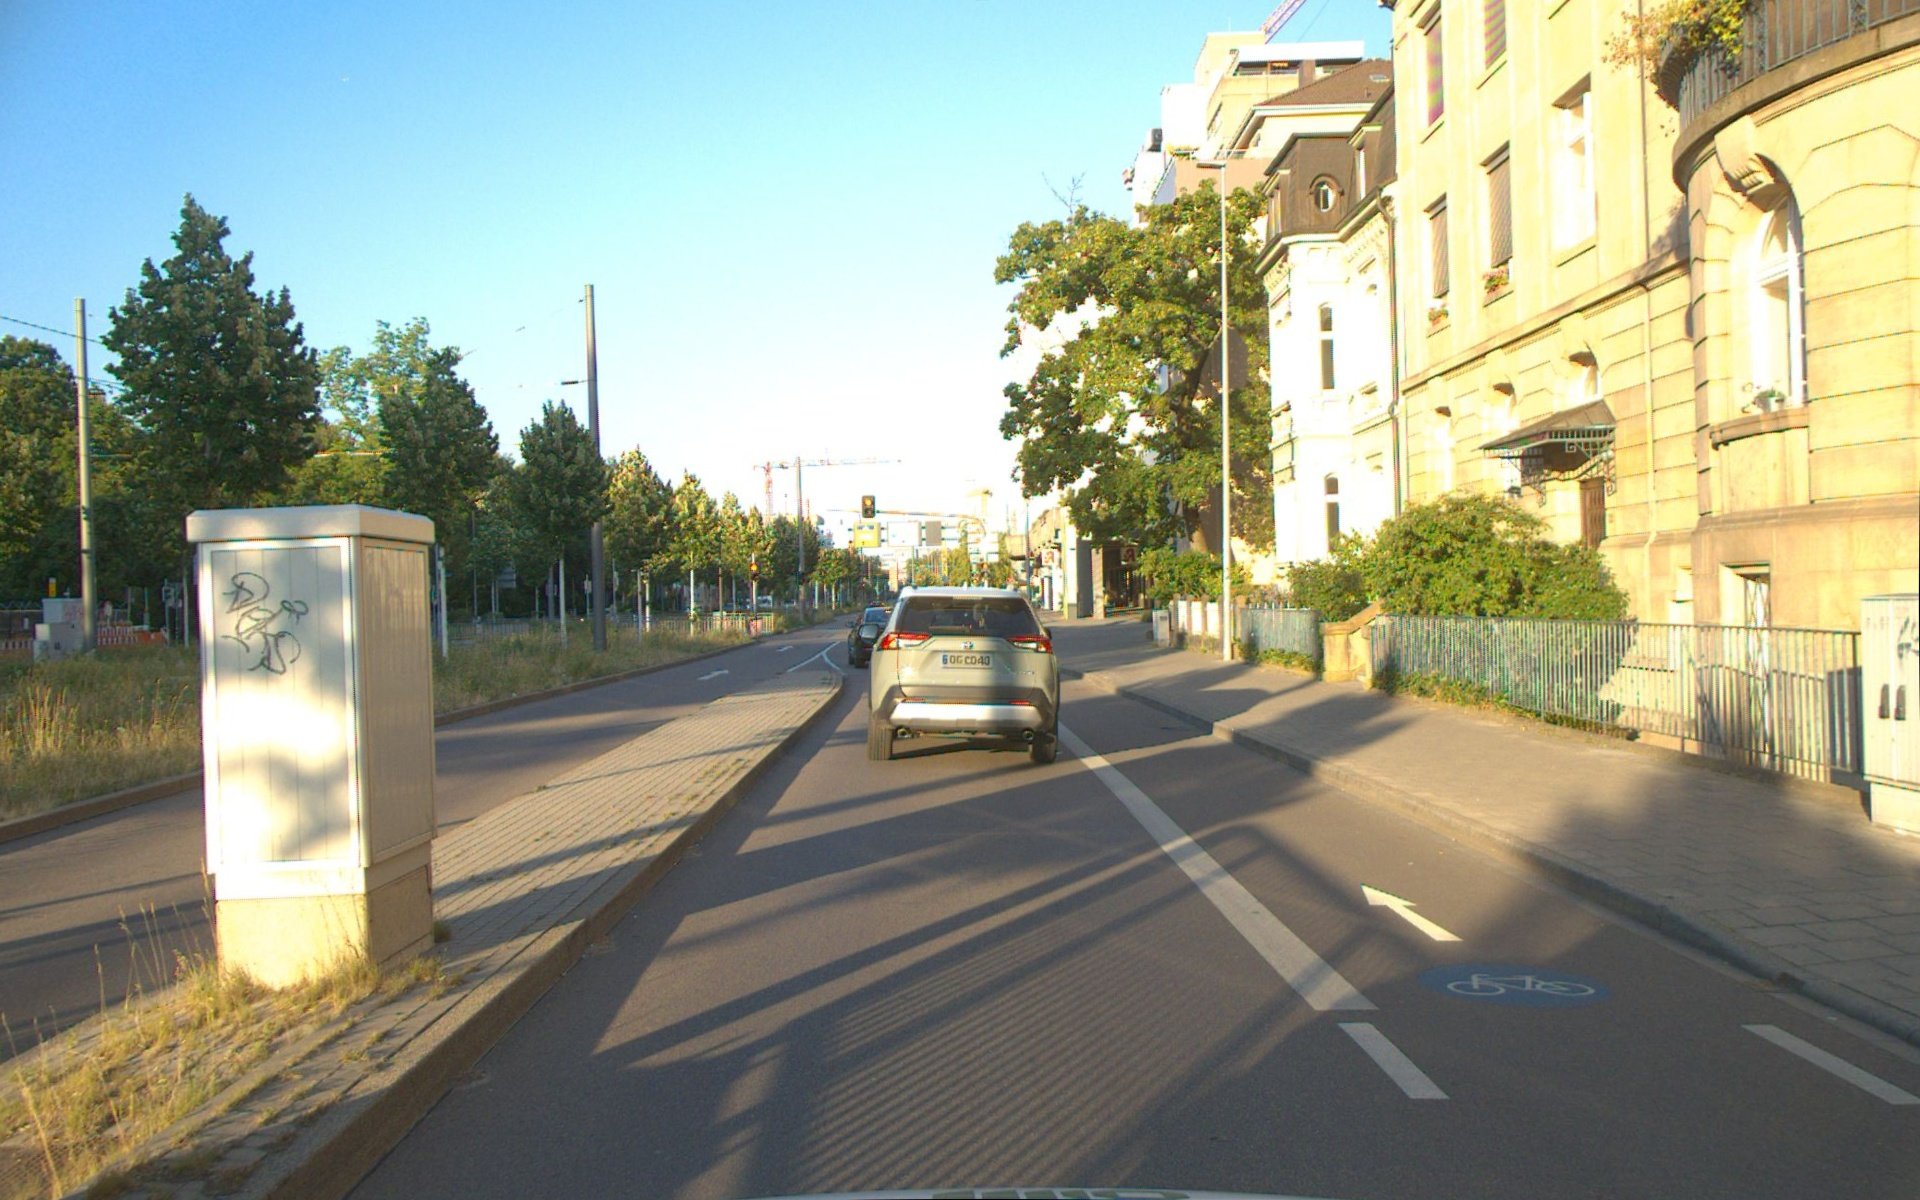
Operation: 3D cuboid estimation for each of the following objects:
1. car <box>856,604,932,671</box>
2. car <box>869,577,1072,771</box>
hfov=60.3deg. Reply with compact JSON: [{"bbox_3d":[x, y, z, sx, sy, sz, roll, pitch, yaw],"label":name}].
[{"bbox_3d":[-1.662,0.900,41.609,1.820,1.578,4.107,0,0,-3],"label":"car"},{"bbox_3d":[0.007,0.675,17.018,1.820,1.744,4.190,0,0,-3],"label":"car"}]
